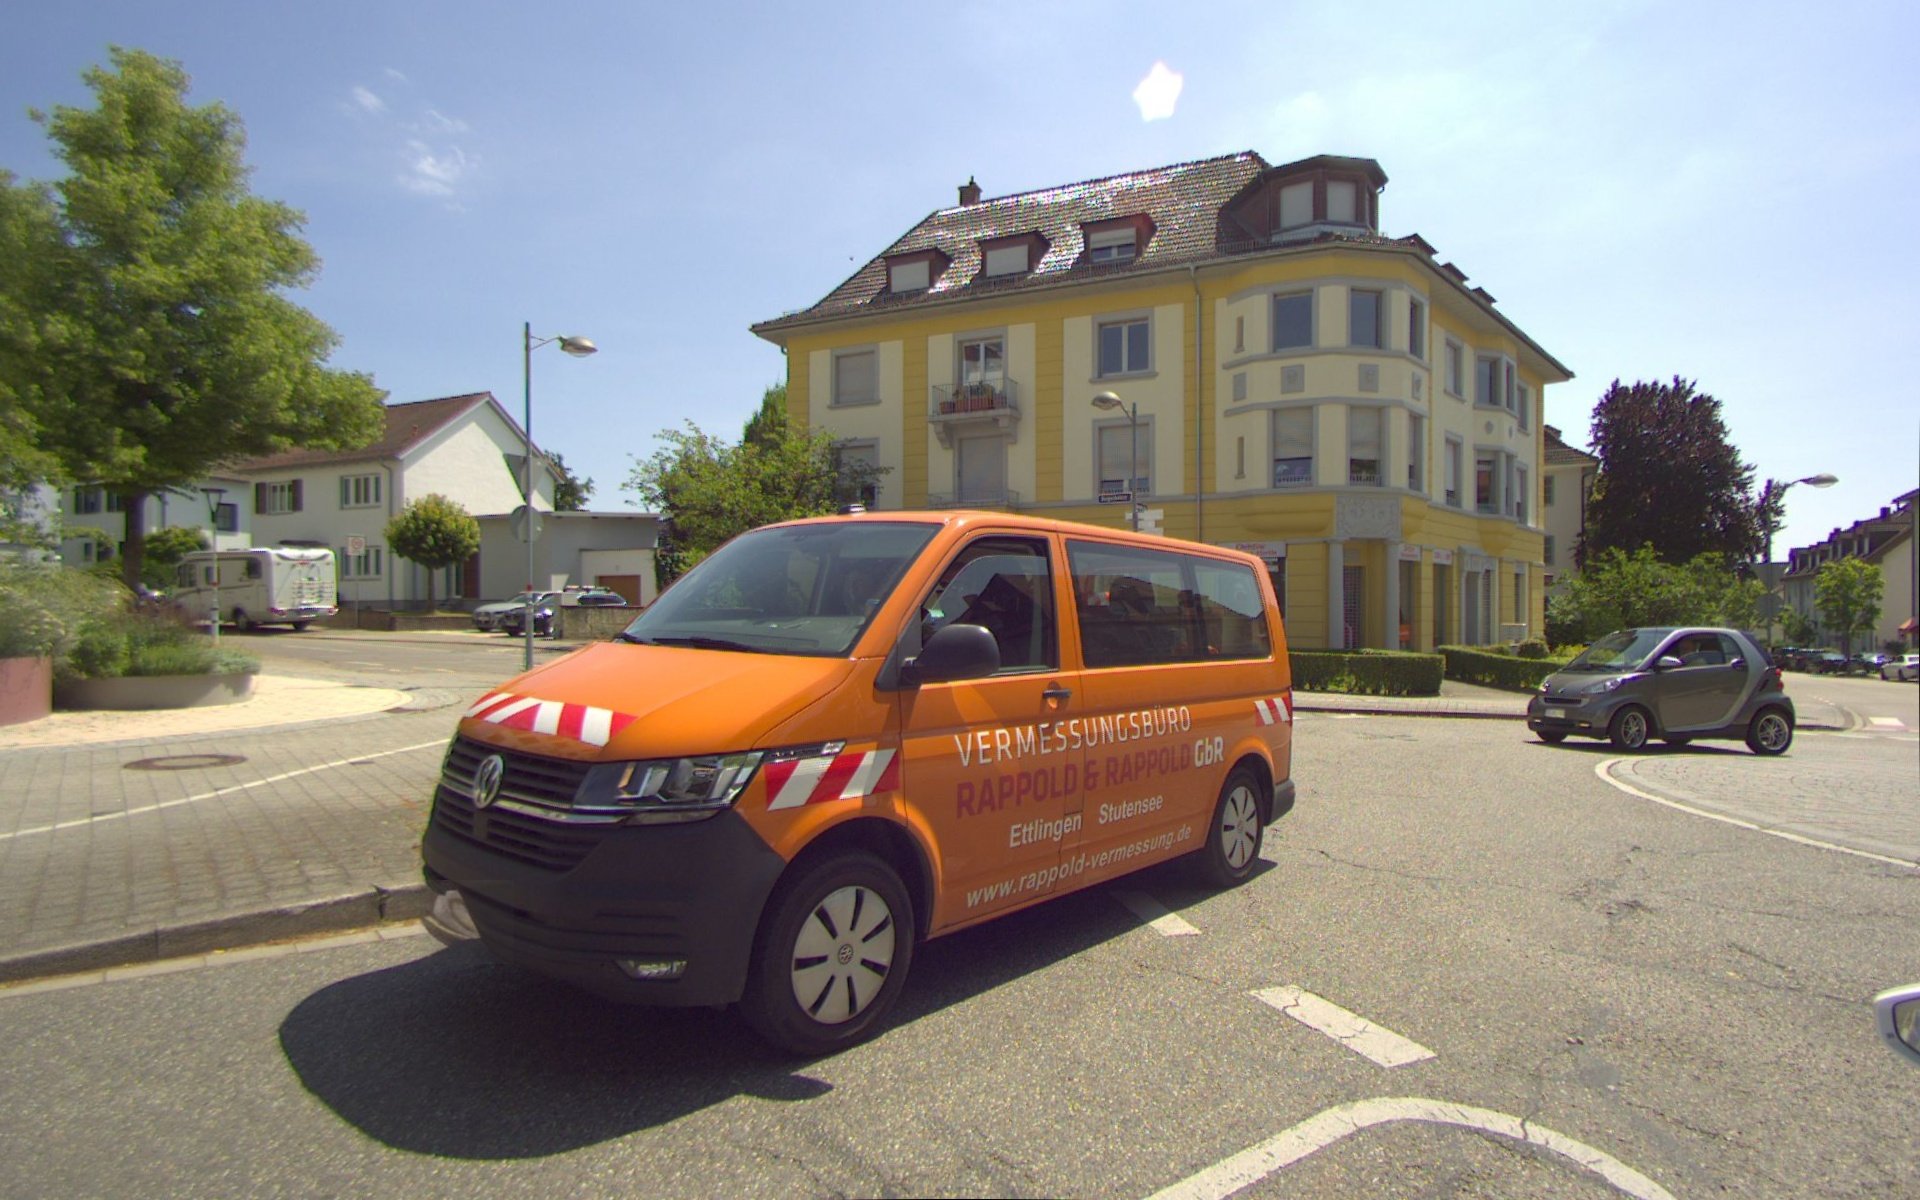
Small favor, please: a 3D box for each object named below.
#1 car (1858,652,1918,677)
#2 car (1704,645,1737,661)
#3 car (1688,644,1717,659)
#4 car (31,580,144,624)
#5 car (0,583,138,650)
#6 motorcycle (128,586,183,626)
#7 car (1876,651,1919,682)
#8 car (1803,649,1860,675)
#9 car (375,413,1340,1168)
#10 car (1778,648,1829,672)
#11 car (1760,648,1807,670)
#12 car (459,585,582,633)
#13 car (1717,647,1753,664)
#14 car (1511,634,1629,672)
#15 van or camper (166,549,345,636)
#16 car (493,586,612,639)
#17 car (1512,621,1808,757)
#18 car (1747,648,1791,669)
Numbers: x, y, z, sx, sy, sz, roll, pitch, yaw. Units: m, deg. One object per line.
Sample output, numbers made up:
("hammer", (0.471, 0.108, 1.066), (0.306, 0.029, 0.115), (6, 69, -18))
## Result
("car", (63.864, 4.436, 69.205), (1.963, 1.529, 4.413), (1, -1, 28))
("car", (76.843, 5.348, 101.531), (1.963, 1.529, 4.413), (1, -1, 28))
("car", (82.160, 5.675, 111.161), (1.964, 1.508, 3.994), (3, -1, 29))
("car", (-32.414, 0.081, 37.299), (3.917, 1.525, 1.755), (1, -1, 26))
("car", (-22.622, 0.386, 24.994), (3.916, 1.525, 1.755), (1, -1, 24))
("motorcycle", (-28.455, 0.218, 35.559), (0.728, 1.337, 2.225), (2, -1, -18))
("car", (51.828, 3.603, 54.560), (1.963, 1.529, 4.413), (1, -1, 28))
("car", (59.013, 4.181, 68.113), (1.963, 1.529, 4.413), (1, -1, 28))
("car", (0.094, 0.550, 5.188), (1.921, 1.985, 4.998), (3, 0, 40))
("car", (61.651, 4.369, 73.517), (1.963, 1.529, 4.413), (1, -1, 28))
("car", (64.111, 4.539, 78.275), (1.963, 1.529, 4.413), (1, -1, 28))
("car", (-15.713, 0.335, 36.158), (1.722, 1.607, 3.992), (1, -1, 21))
("car", (74.118, 5.297, 96.081), (1.963, 1.529, 4.413), (1, -1, 28))
("car", (27.833, 2.383, 46.032), (4.333, 1.529, 1.999), (1, -1, 23))
("van or camper", (-23.458, -0.324, 33.441), (5.774, 2.674, 2.272), (1, 2, 25))
("car", (-13.576, 0.426, 33.722), (1.721, 1.607, 3.995), (1, -1, 12))
("car", (8.884, 1.100, 12.881), (2.736, 1.550, 1.569), (2, -1, -5))
("car", (66.375, 4.768, 82.449), (1.963, 1.529, 4.413), (1, -1, 28))
